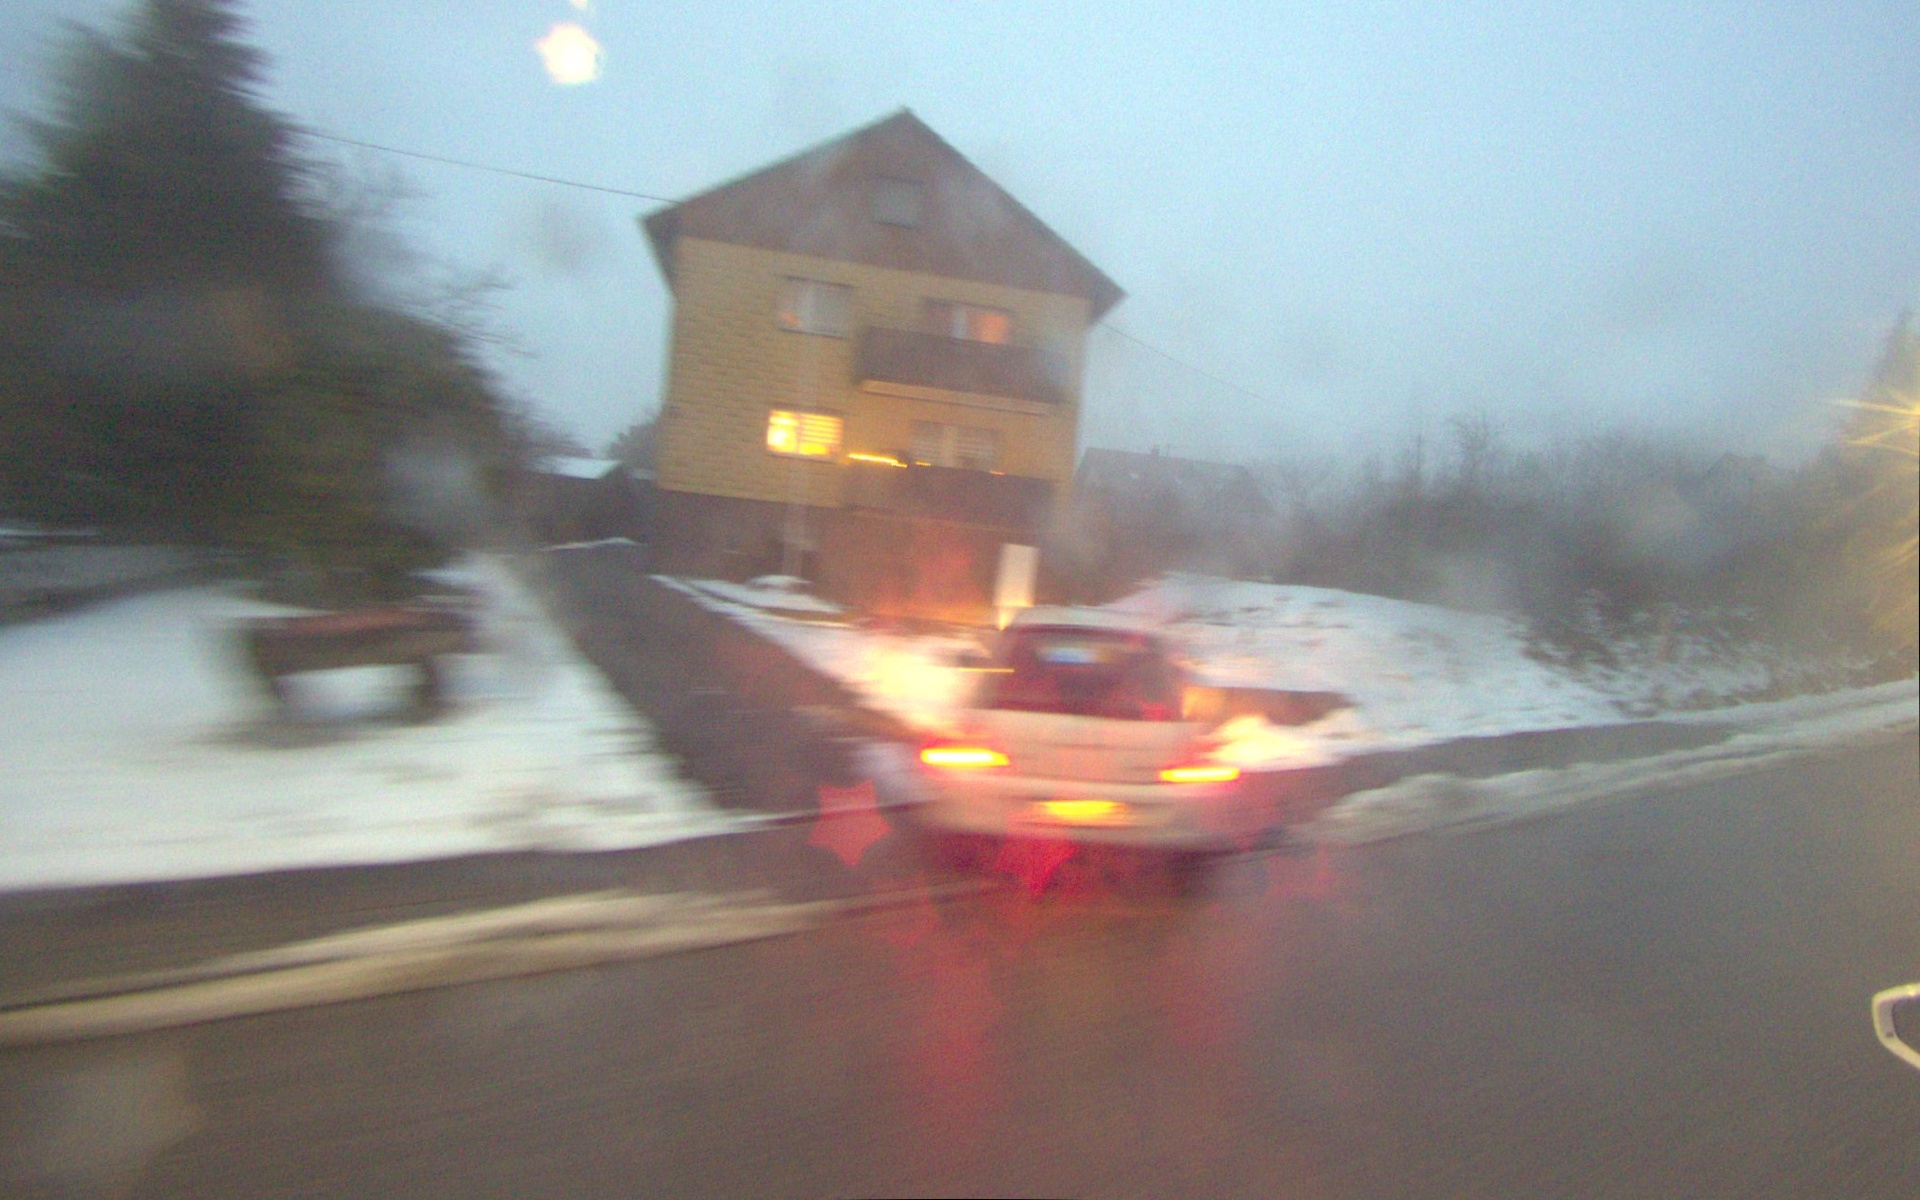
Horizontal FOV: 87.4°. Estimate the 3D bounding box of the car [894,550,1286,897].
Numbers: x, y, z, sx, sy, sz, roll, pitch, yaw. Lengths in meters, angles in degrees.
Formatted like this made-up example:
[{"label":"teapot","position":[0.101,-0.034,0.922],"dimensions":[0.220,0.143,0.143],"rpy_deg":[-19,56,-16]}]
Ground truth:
[{"label":"car","position":[0.771,0.567,7.011],"dimensions":[1.865,1.631,4.001],"rpy_deg":[3,2,4]}]
